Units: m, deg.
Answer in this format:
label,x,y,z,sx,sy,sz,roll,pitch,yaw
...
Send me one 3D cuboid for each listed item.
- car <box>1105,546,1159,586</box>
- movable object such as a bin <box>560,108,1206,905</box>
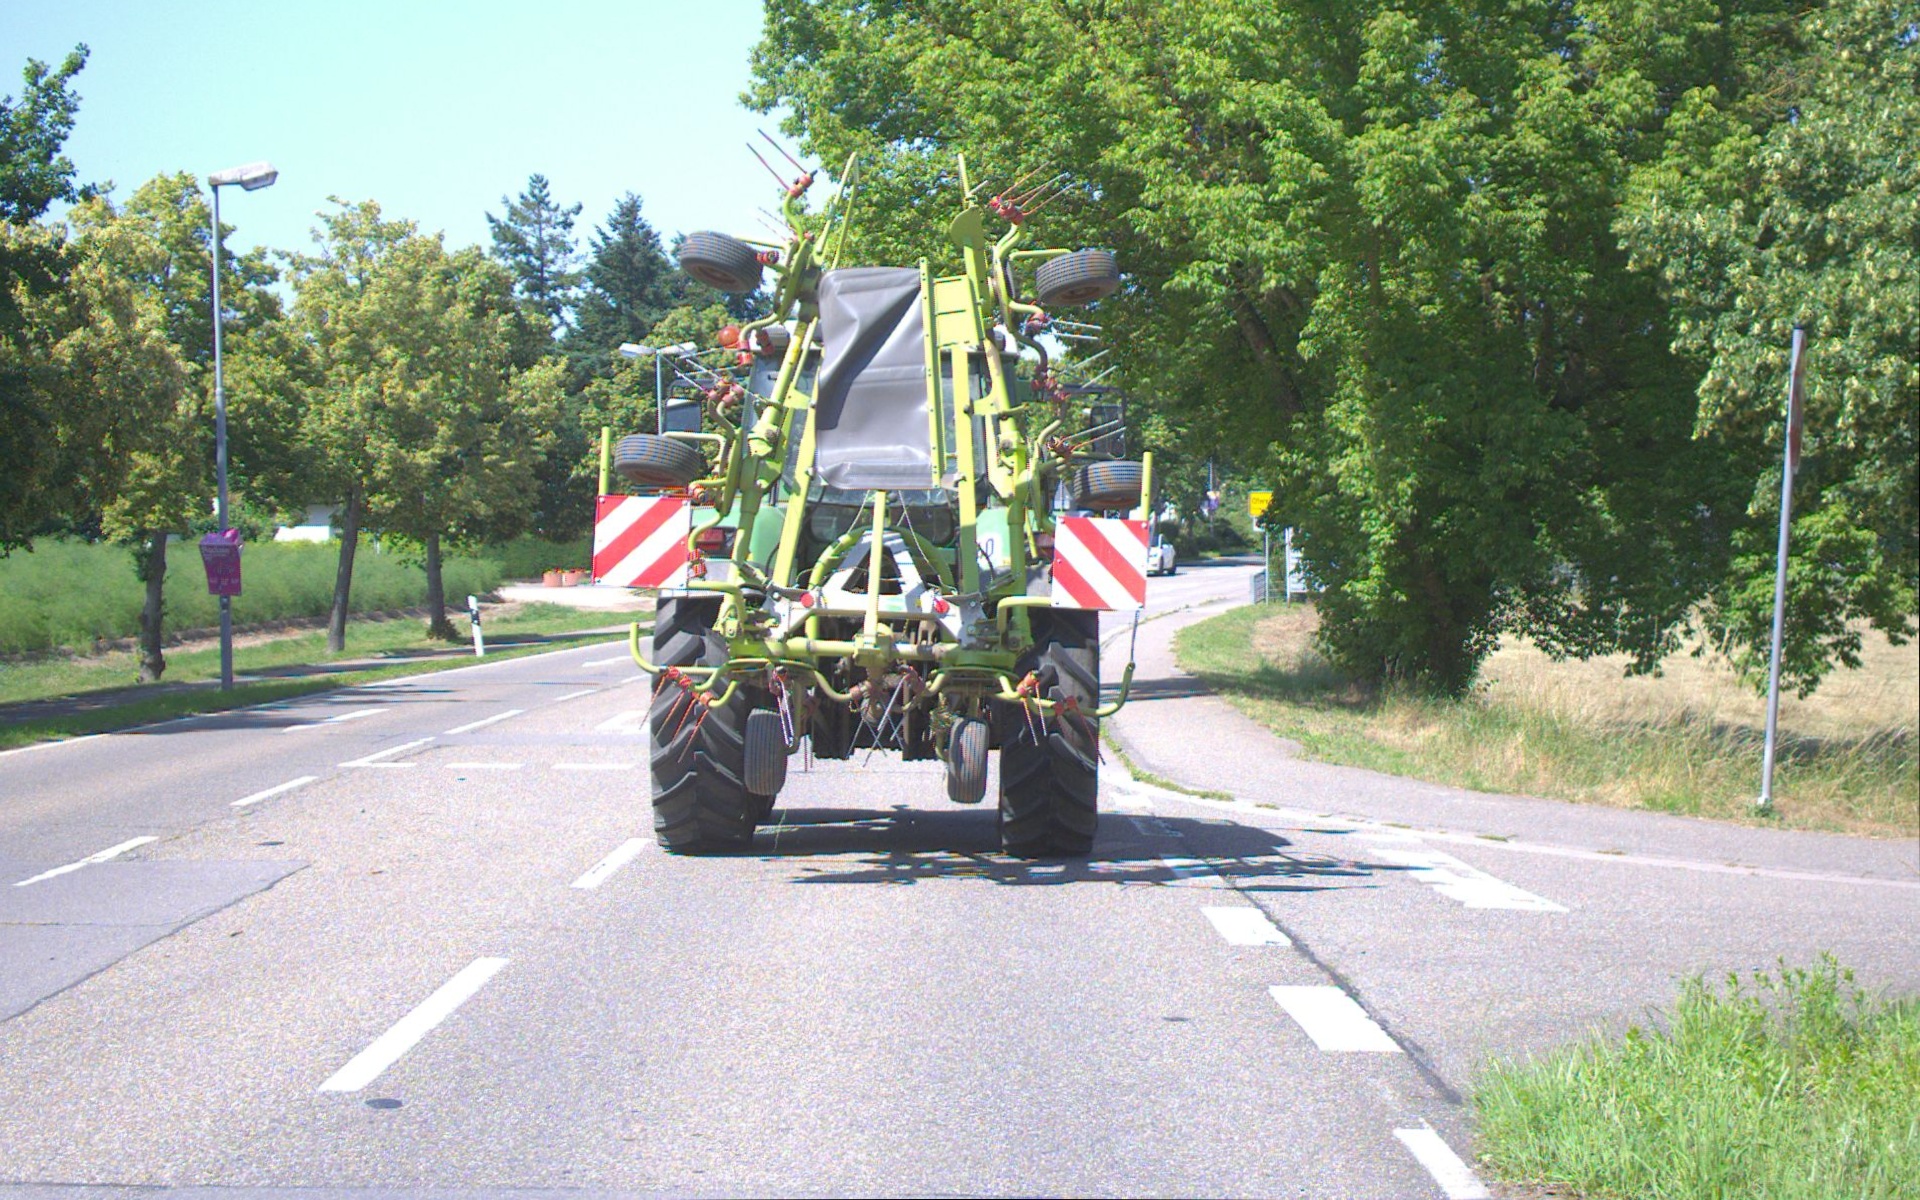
label,x,y,z,sx,sy,sz,roll,pitch,yaw
car,6.702,-1.331,133.562,1.649,1.429,3.895,3,1,8
movable object such as a bin,-0.426,-0.450,20.163,2.853,3.529,9.701,0,0,-1
